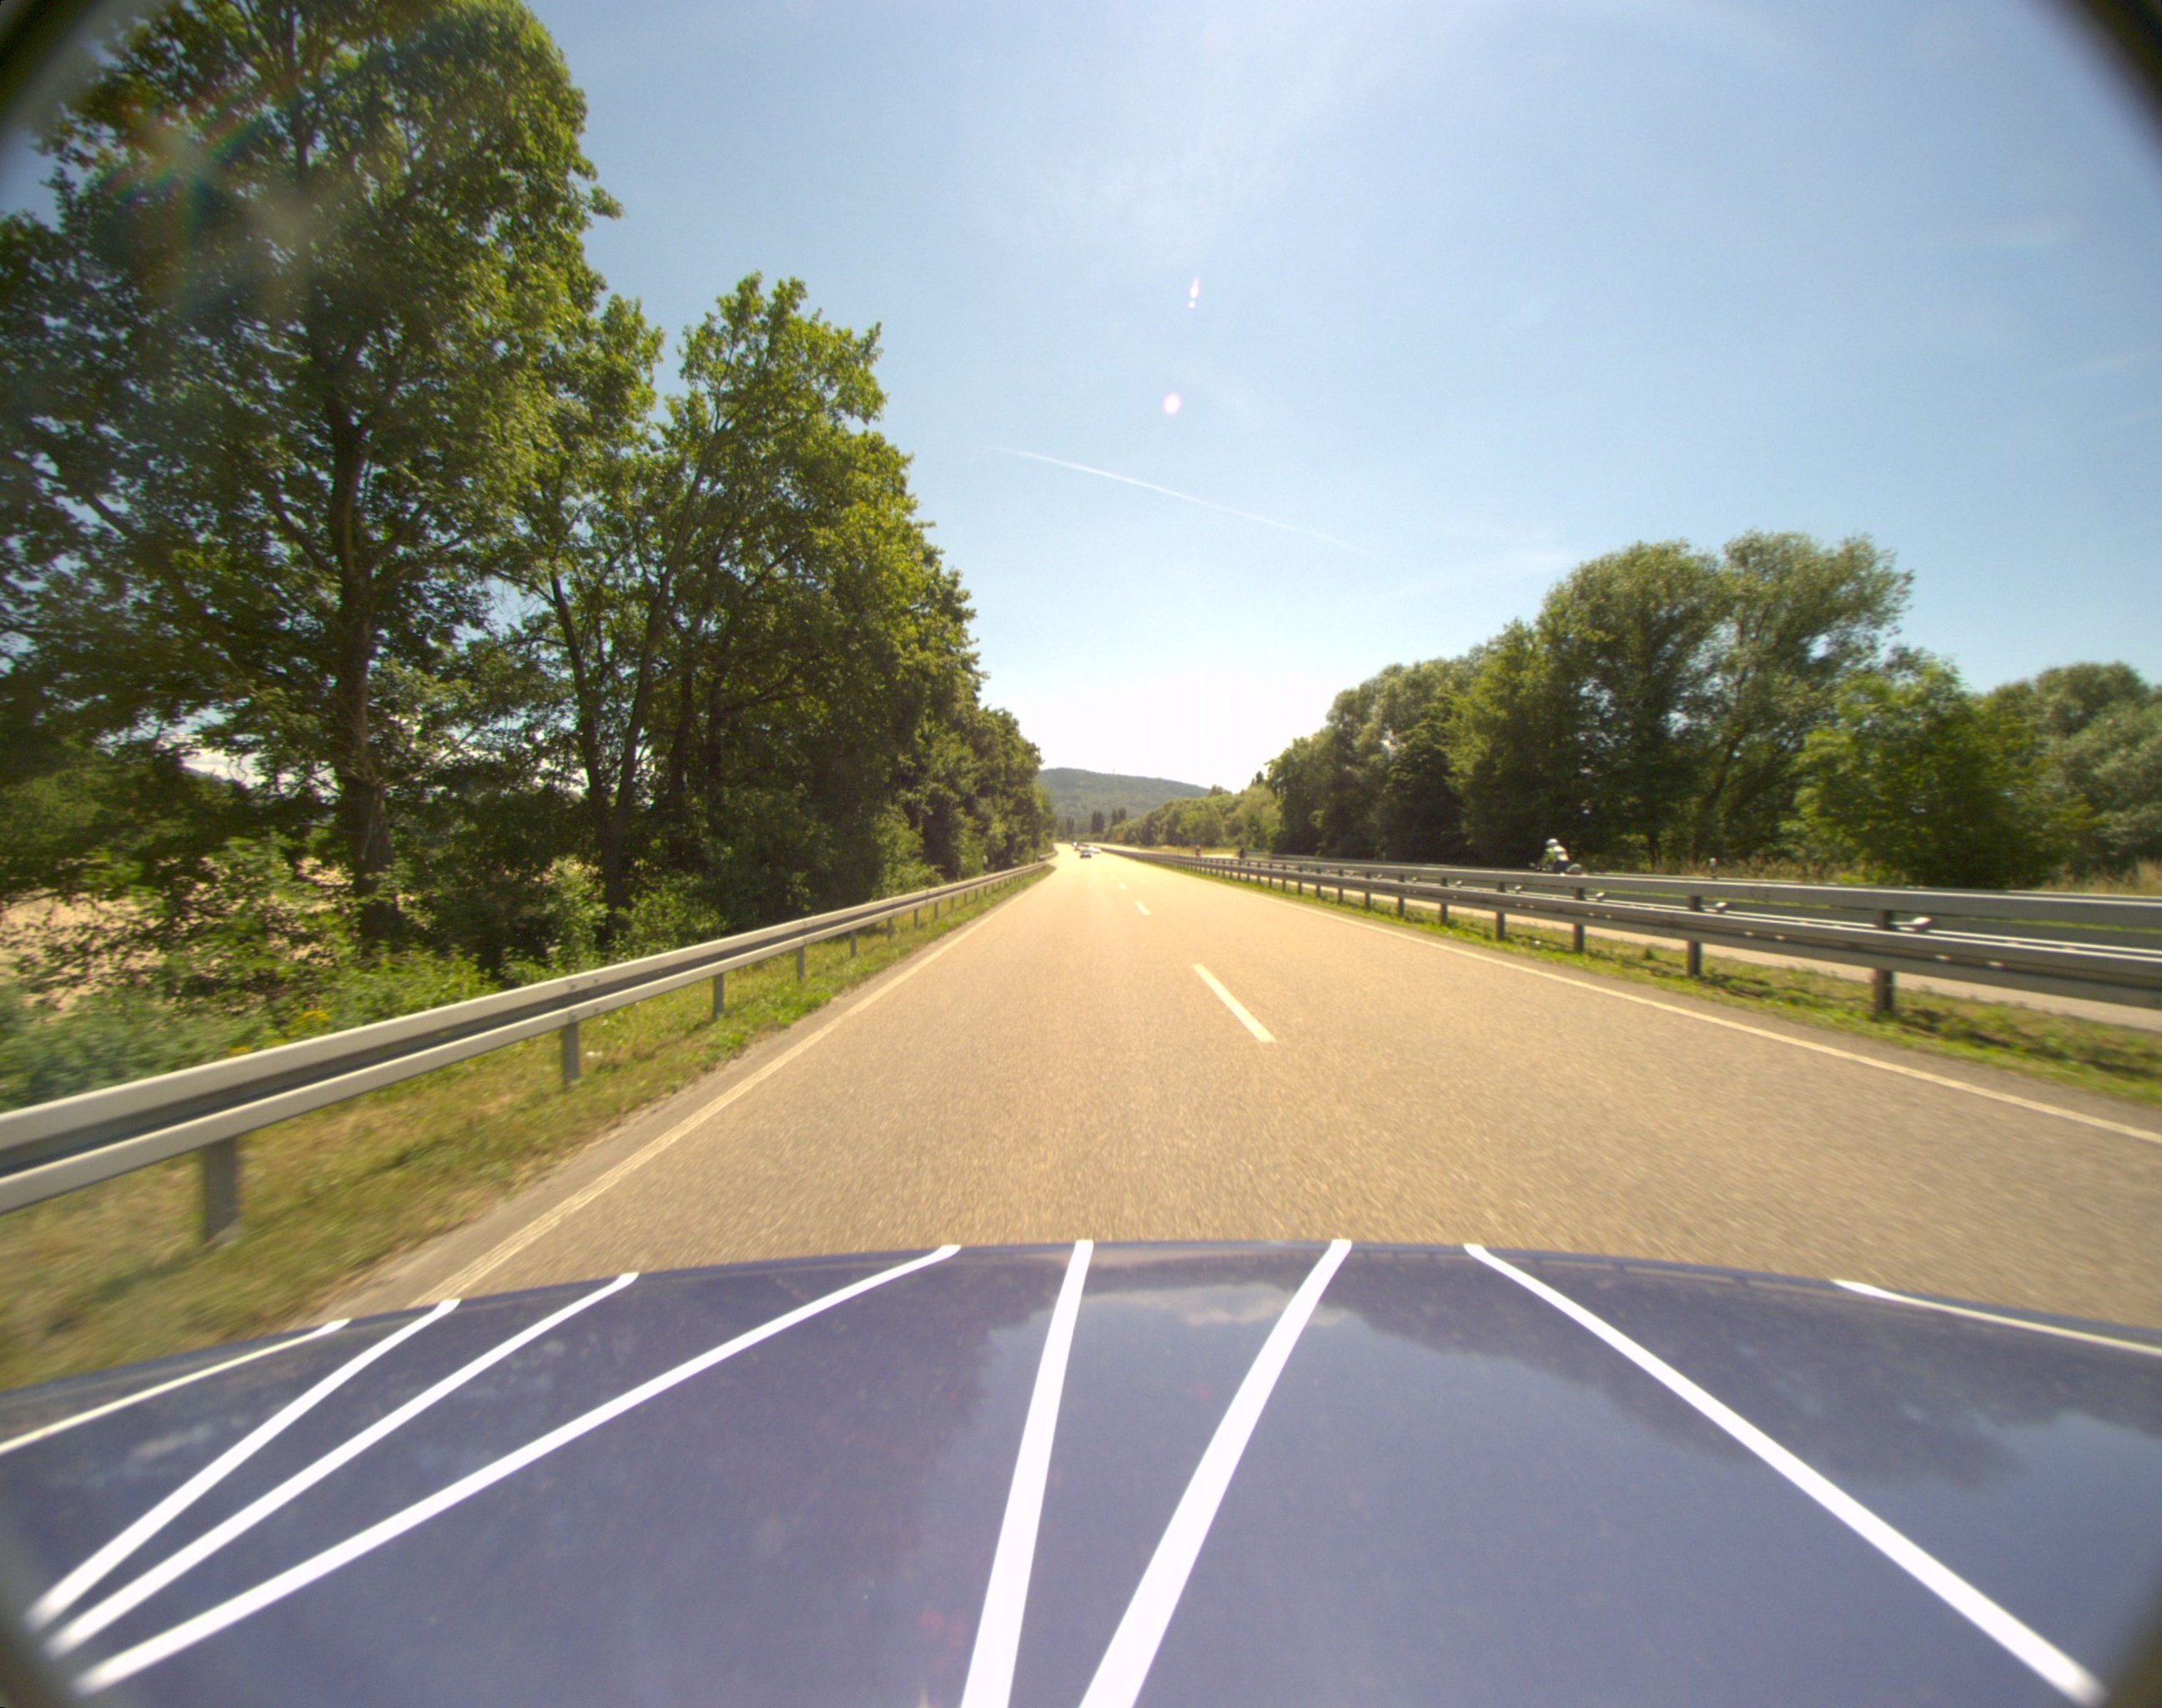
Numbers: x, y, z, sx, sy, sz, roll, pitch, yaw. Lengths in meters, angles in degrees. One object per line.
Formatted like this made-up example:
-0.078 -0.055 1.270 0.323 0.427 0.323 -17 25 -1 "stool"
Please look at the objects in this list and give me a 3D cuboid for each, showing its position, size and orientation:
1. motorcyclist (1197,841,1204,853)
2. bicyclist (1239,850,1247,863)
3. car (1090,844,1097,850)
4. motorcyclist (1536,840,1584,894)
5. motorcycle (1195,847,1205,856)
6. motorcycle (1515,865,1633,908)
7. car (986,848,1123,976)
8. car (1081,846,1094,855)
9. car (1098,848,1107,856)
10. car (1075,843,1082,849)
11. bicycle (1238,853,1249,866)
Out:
14.732 -0.878 93.774 0.720 1.473 0.809 -1 1 1 "motorcyclist"
15.504 0.221 72.596 0.615 1.270 0.608 -1 1 0 "bicyclist"
3.559 -2.034 212.262 1.908 1.687 3.891 -1 1 3 "car"
14.507 0.384 23.034 0.947 1.608 0.809 0 1 0 "motorcyclist"
14.681 -0.289 93.751 0.728 1.058 2.666 -1 1 1 "motorcycle"
14.546 0.919 22.637 1.066 1.058 3.818 0 1 1 "motorcycle"
-0.372 0.786 12.534 1.862 1.662 3.998 -1 2 0 "car"
1.087 -0.539 124.014 1.908 1.368 3.891 -1 1 3 "car"
4.881 -0.481 174.346 1.908 1.687 3.891 -1 1 3 "car"
-0.667 -2.239 223.773 1.908 1.687 3.891 -1 1 3 "car"
15.526 0.511 72.617 0.615 1.151 2.280 -1 1 1 "bicycle"
